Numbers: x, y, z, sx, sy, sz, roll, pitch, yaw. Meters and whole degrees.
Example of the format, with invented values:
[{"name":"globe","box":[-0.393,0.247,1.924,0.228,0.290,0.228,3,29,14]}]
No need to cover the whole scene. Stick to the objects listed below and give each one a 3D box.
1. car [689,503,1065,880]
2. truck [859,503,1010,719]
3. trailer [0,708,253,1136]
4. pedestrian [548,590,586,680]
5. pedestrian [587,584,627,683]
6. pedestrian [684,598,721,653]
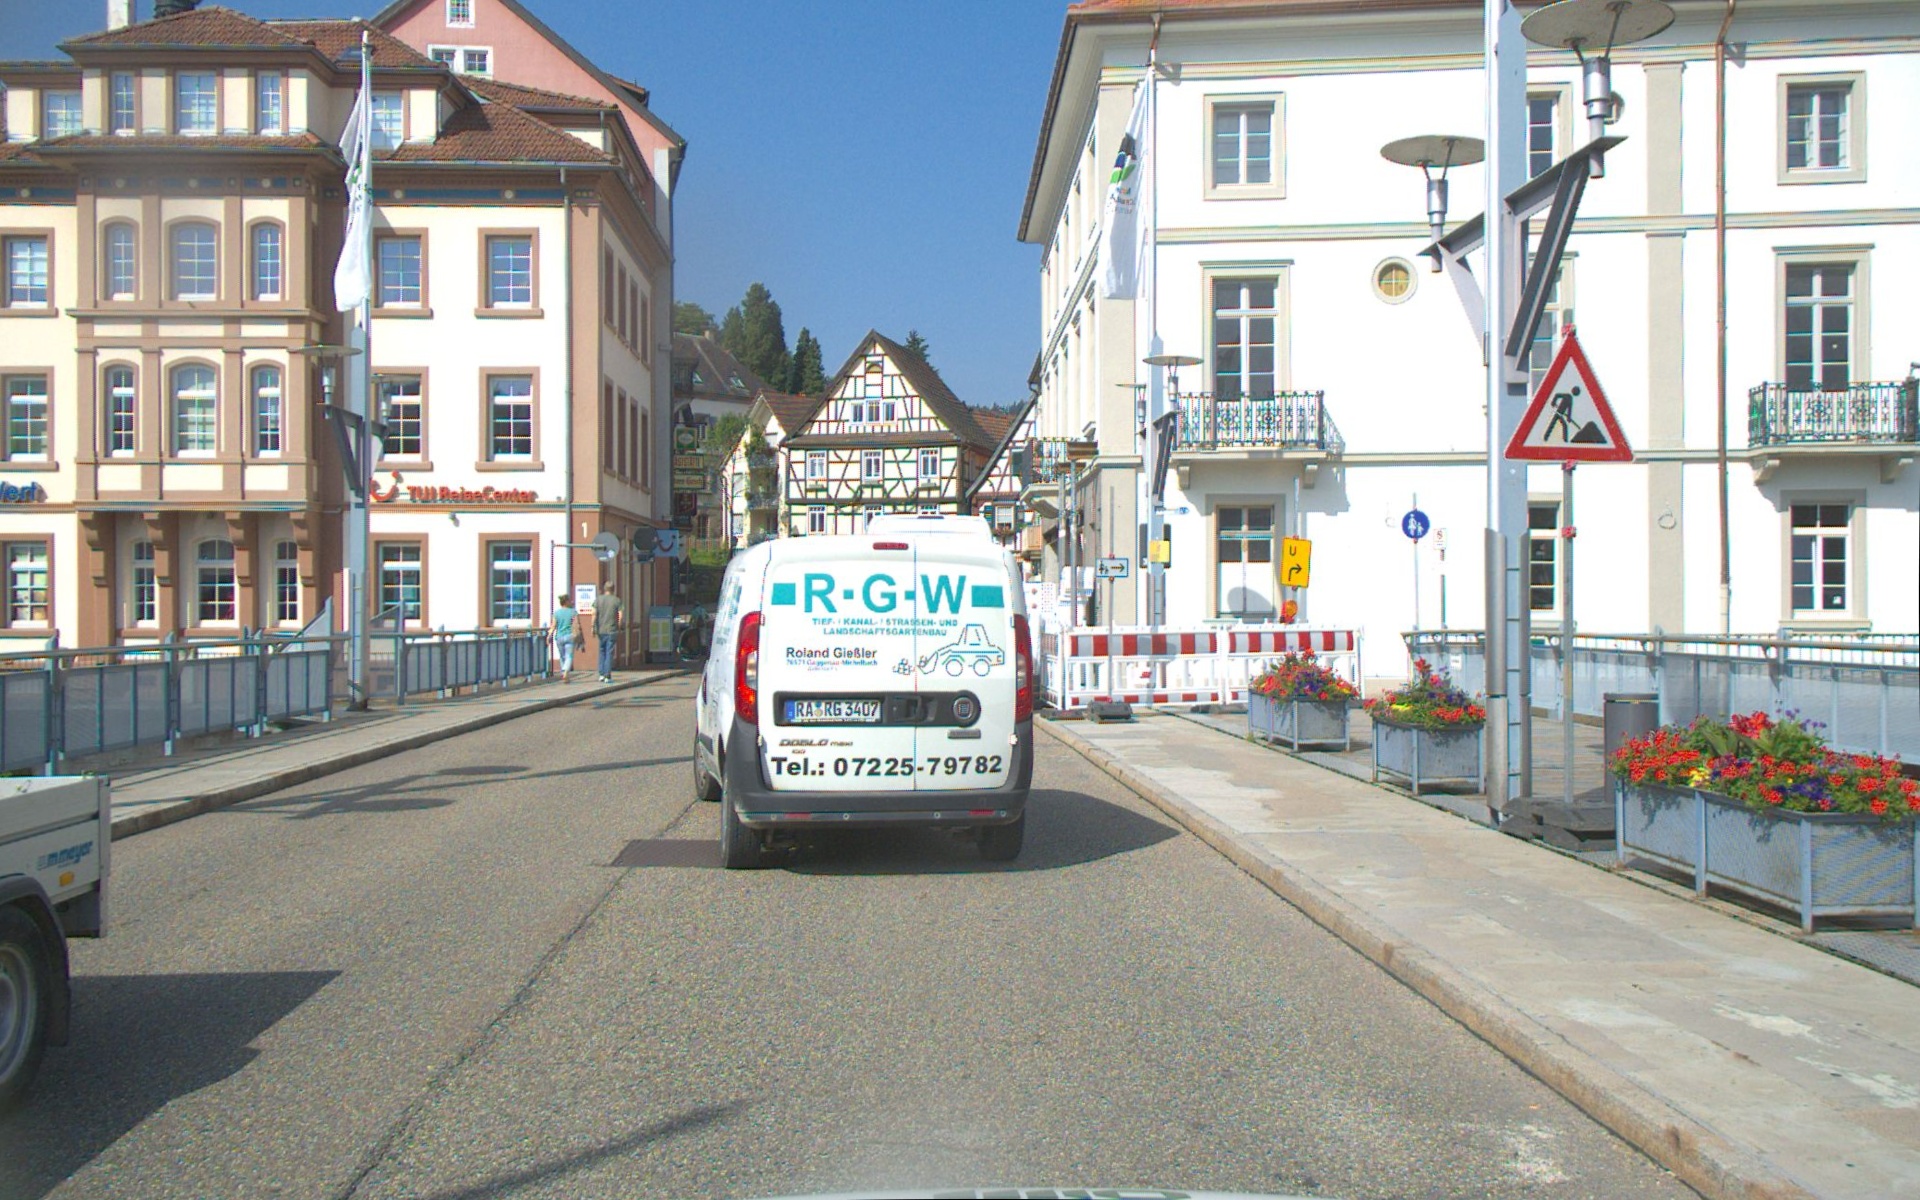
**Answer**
[{"name":"car","box":[-0.759,0.475,10.822,1.812,1.939,4.302,0,0,-12]},{"name":"truck","box":[-0.438,0.135,22.387,1.824,2.630,4.257,0,0,-4]},{"name":"trailer","box":[-3.481,0.962,4.315,1.716,1.040,4.182,-1,0,-4]},{"name":"pedestrian","box":[-7.255,0.633,30.570,0.572,1.638,0.537,1,0,-2]},{"name":"pedestrian","box":[-6.522,0.604,30.559,0.602,1.793,0.863,1,0,-5]},{"name":"pedestrian","box":[-7.932,0.784,50.968,1.052,1.676,0.686,0,1,-1]}]
